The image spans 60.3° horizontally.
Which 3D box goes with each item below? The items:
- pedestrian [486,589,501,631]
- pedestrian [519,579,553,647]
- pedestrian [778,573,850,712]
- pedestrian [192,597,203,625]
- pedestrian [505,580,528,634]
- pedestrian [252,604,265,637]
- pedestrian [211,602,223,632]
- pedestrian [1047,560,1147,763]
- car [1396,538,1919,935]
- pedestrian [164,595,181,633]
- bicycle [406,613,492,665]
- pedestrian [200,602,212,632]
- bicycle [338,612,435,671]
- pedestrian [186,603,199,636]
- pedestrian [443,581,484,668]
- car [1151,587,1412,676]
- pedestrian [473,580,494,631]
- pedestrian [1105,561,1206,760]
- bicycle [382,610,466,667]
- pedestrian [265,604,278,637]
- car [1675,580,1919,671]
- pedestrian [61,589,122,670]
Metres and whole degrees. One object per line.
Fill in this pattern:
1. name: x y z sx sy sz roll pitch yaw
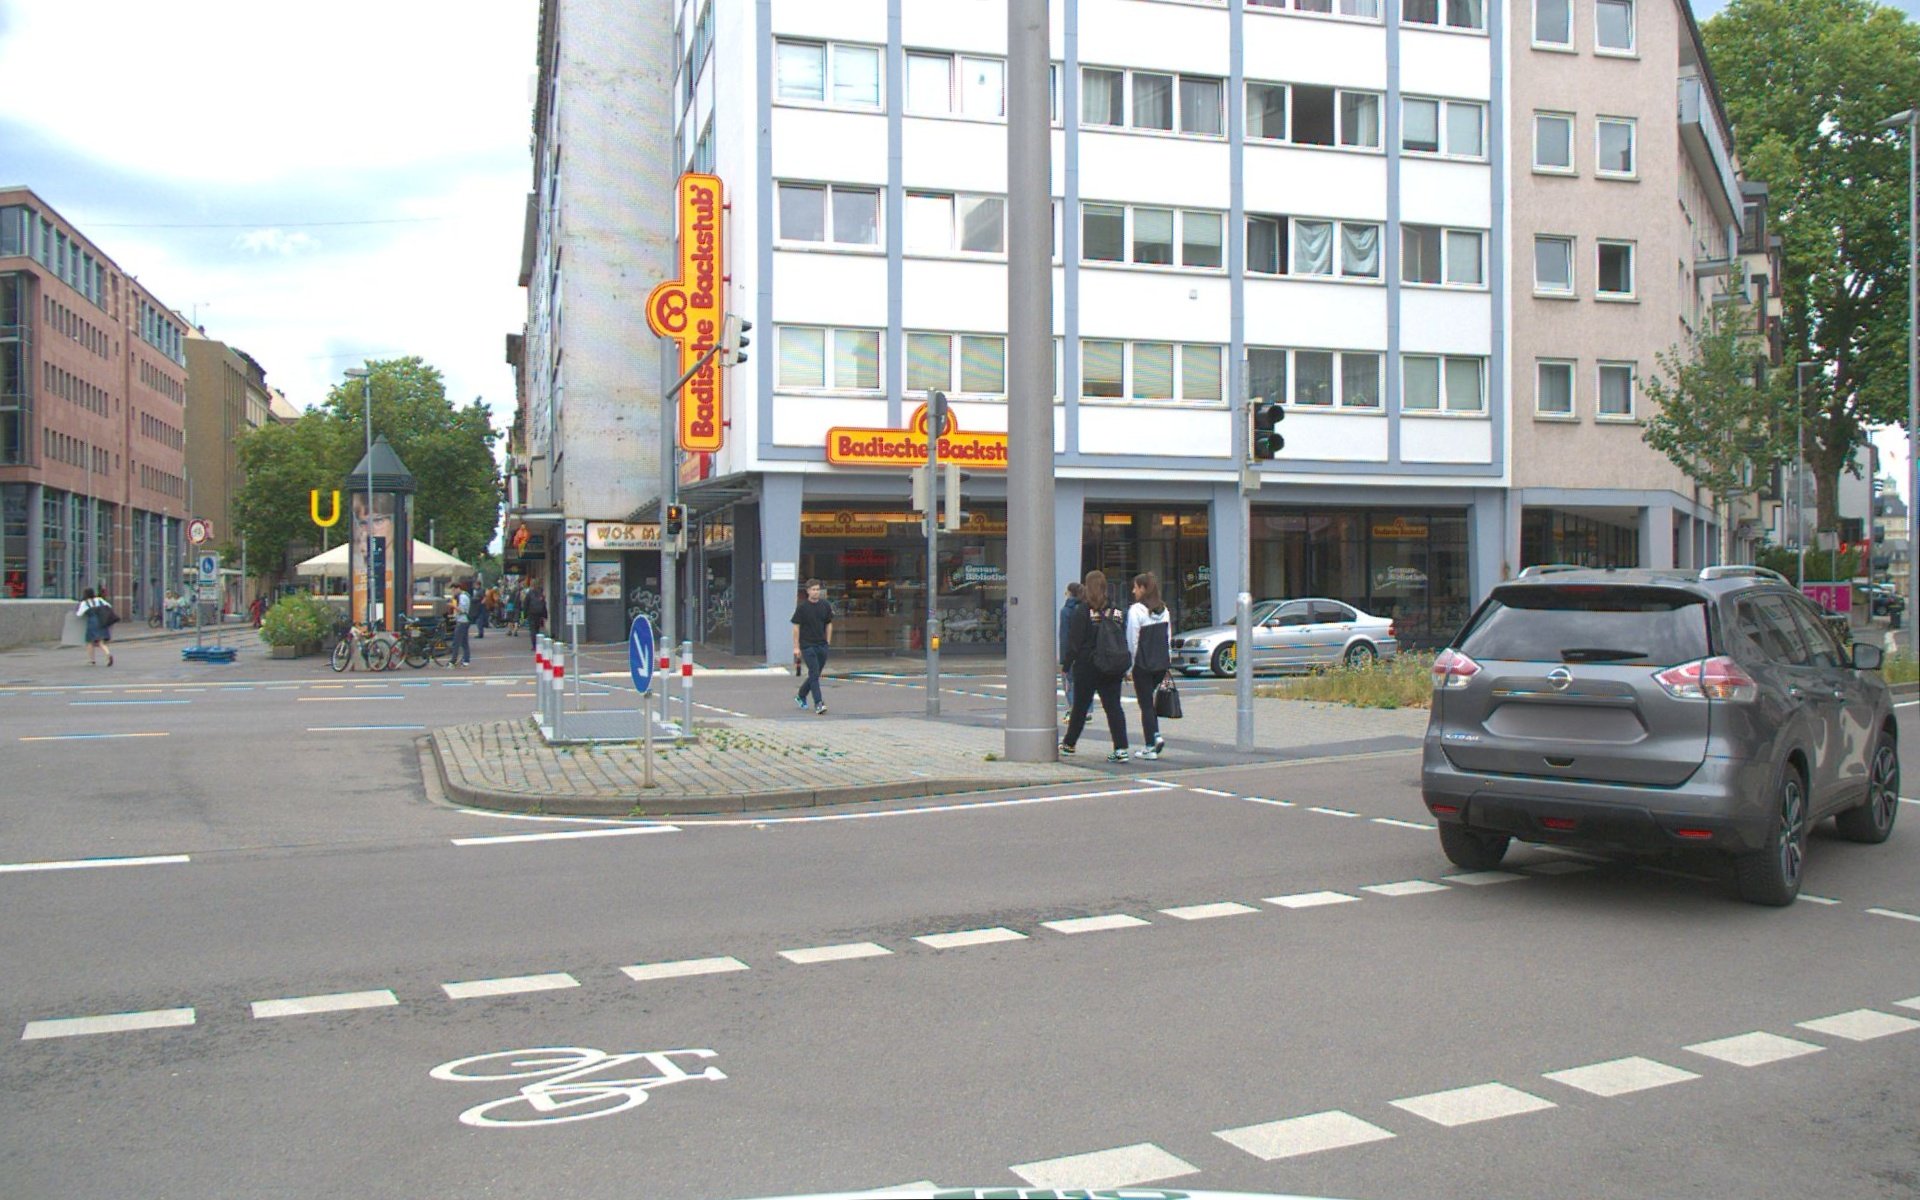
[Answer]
1. pedestrian: -19.516 0.406 69.186 0.601 1.735 0.617 1 0 -15
2. pedestrian: -10.970 0.333 42.778 0.696 1.735 0.734 1 0 -4
3. pedestrian: -2.012 0.574 22.718 0.703 1.864 1.009 1 0 -23
4. pedestrian: -47.099 0.686 102.199 0.592 1.744 0.651 1 0 -23
5. pedestrian: -15.506 0.239 57.841 0.726 1.853 0.659 0 0 -18
6. pedestrian: -37.042 1.089 87.332 0.592 1.744 0.651 1 0 -23
7. pedestrian: -44.386 1.022 98.788 0.592 1.744 0.651 1 0 -23
8. pedestrian: 1.243 0.544 15.117 0.613 1.792 0.774 1 0 -23
9. car: 4.377 0.592 9.913 1.833 1.805 4.548 1 1 37
10. pedestrian: -33.112 0.585 69.565 0.592 1.563 0.651 1 0 -23
11. bicycle: -10.753 0.820 34.829 1.665 1.084 0.436 1 0 -10
12. pedestrian: -44.095 1.006 96.771 0.592 1.744 0.651 1 0 -23
13. bicycle: -11.913 0.859 34.388 1.847 1.192 0.525 1 0 -31
14. pedestrian: -41.317 1.036 89.077 0.592 1.744 0.651 1 0 -23
15. pedestrian: -10.360 0.508 34.514 0.722 1.776 0.658 1 0 -24
16. car: 5.958 0.556 30.652 4.482 1.507 1.739 -1 0 -19
17. pedestrian: -16.333 0.183 56.680 0.632 1.735 0.557 1 0 -15
18. pedestrian: 1.810 0.545 15.361 0.613 1.792 0.774 1 0 -23
19. bicycle: -11.423 0.813 35.248 1.673 1.192 0.434 1 0 -23
20. pedestrian: -36.447 1.097 87.572 0.592 1.744 0.651 1 0 -23
21. car: 15.452 0.433 30.200 4.488 1.507 1.737 -1 0 -22
22. pedestrian: -19.046 0.644 36.280 0.906 1.735 0.735 1 0 3
